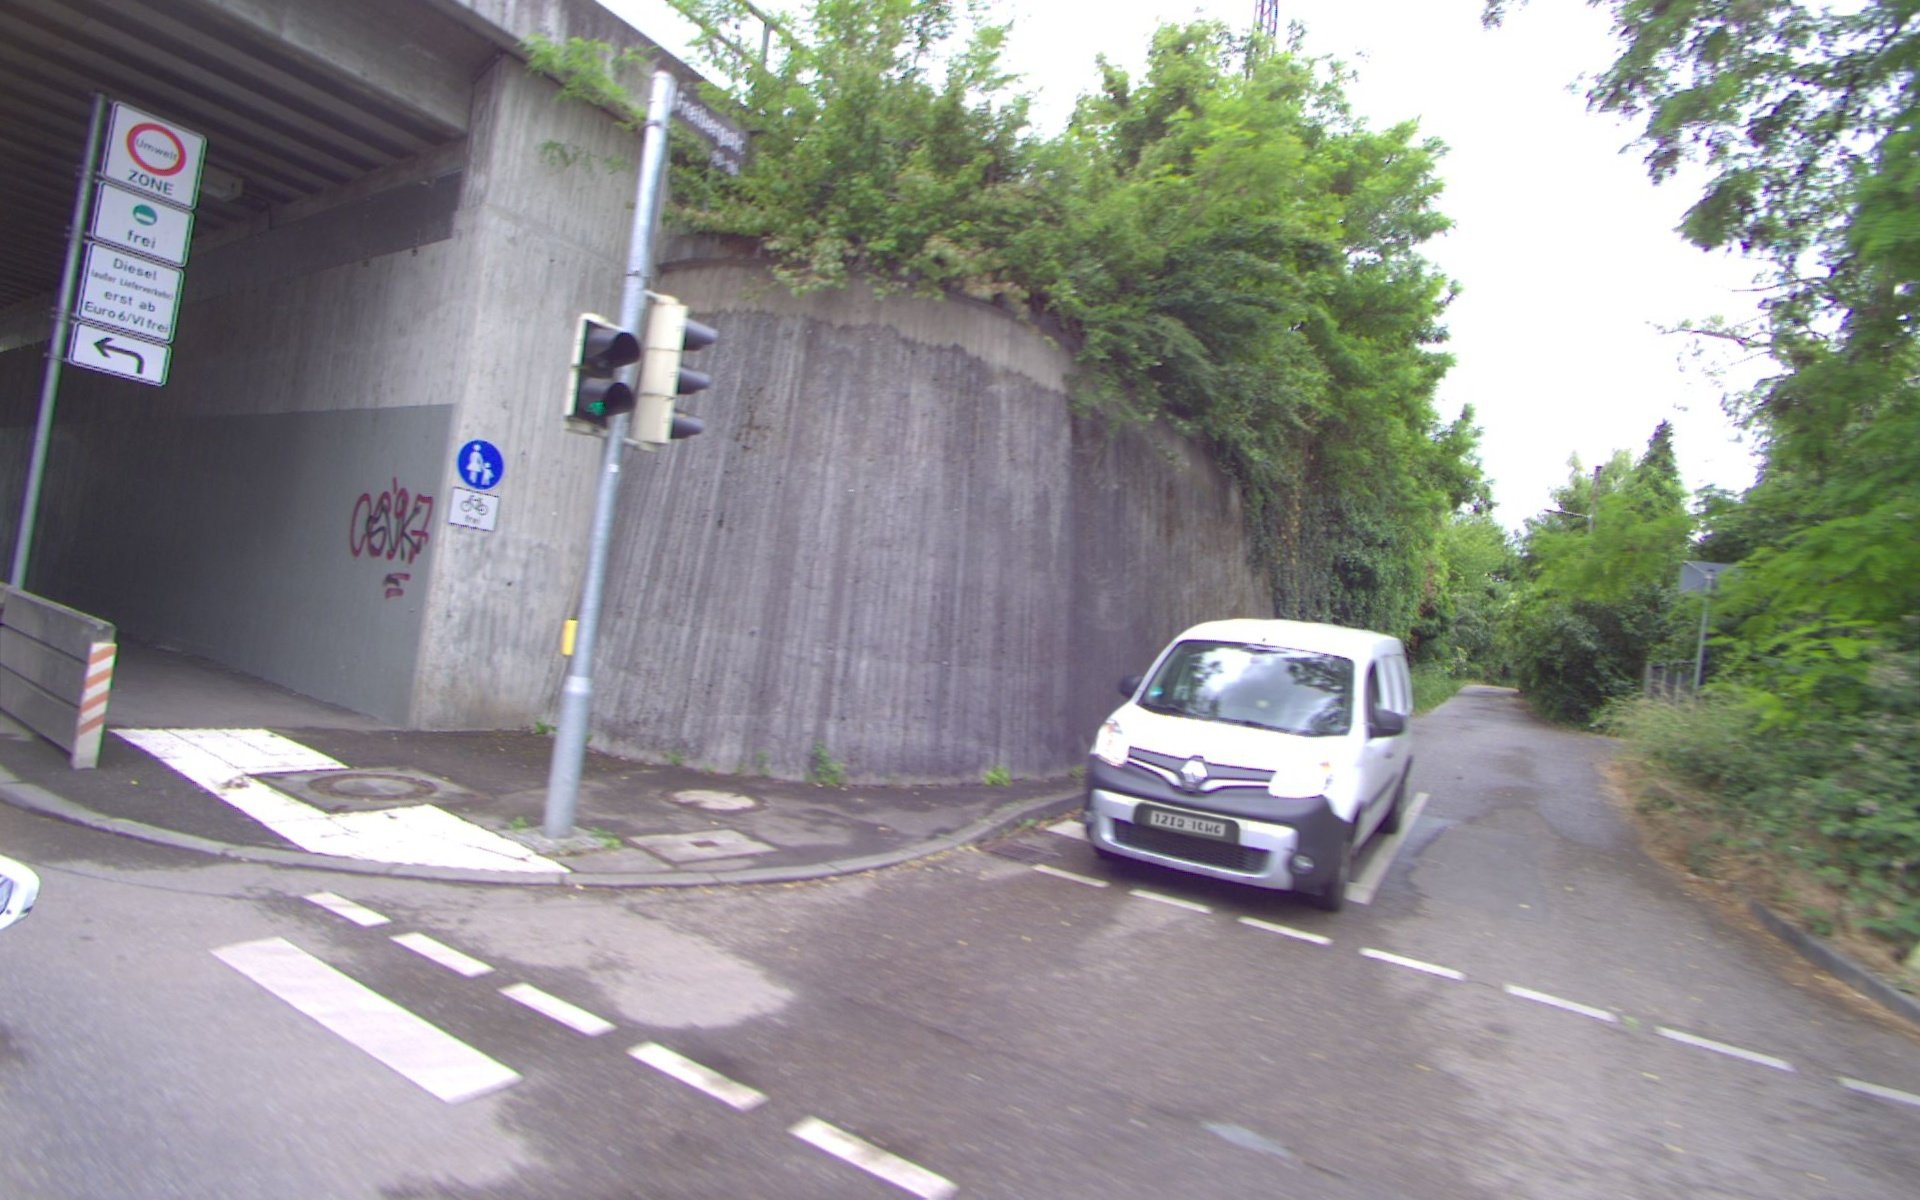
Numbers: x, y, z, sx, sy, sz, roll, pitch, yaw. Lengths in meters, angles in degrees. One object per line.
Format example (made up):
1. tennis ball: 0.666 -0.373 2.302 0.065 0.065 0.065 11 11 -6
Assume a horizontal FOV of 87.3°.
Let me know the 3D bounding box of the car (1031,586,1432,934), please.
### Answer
1. car: 2.445 1.009 7.984 1.796 1.807 4.485 6 0 31
